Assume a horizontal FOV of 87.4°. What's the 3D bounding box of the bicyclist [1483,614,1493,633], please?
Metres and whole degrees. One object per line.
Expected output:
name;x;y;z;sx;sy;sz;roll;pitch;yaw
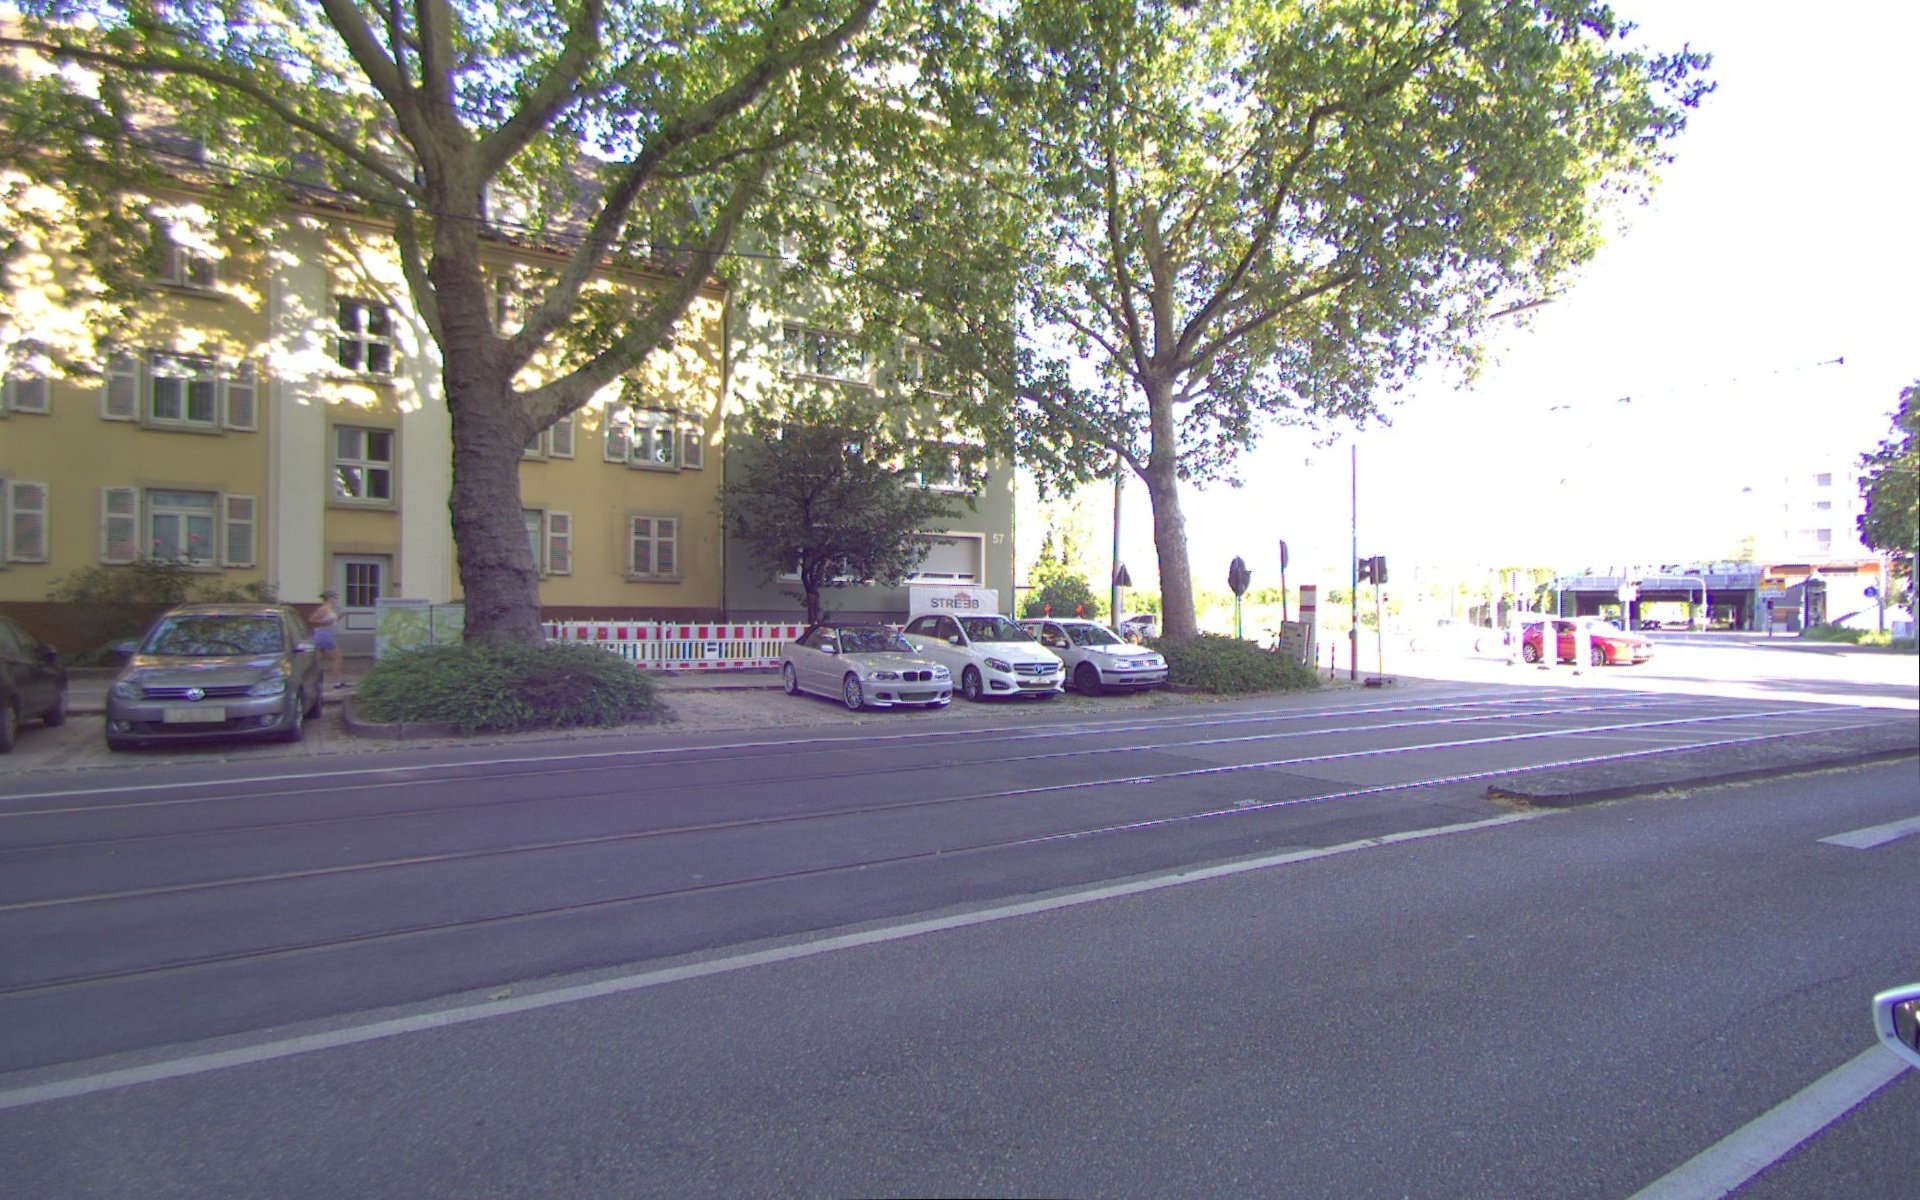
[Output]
bicyclist;36.001;1.592;68.447;0.519;1.239;0.528;0;0;37

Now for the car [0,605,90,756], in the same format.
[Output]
car;-11.449;0.836;11.389;1.652;1.518;3.778;1;0;-30

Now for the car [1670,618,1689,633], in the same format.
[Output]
car;83.520;2.972;116.682;1.731;1.706;3.729;2;0;36

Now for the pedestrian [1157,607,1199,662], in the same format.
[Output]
pedestrian;6.772;1.063;31.196;0.919;1.669;0.841;2;0;-30

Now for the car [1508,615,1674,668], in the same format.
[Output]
car;20.564;1.302;32.977;1.989;1.586;4.478;1;-1;-15

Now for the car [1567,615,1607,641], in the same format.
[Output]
car;40.116;1.786;64.256;1.860;1.606;3.823;2;0;37

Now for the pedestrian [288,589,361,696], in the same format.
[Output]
pedestrian;-10.280;0.674;16.272;0.945;1.683;0.768;2;0;-32

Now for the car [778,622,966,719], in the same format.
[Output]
car;-1.634;1.111;17.314;1.651;1.370;3.949;1;0;-31

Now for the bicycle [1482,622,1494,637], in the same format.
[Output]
bicycle;35.962;2.034;68.396;0.519;0.995;1.571;0;-1;36

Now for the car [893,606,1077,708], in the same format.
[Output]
car;0.365;0.985;19.159;1.651;1.669;3.949;1;0;-31

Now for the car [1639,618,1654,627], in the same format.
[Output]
car;97.976;3.217;143.323;1.555;1.277;3.421;0;-1;30

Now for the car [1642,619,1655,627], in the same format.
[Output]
car;114.267;3.836;166.625;1.555;1.277;3.421;0;-1;30

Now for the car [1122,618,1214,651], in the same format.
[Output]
car;10.310;1.669;49.895;4.133;1.539;1.799;0;0;32

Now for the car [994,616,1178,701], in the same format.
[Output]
car;2.456;1.112;20.534;1.651;1.473;3.949;1;0;-31

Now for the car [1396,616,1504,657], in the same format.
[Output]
car;21.181;1.551;43.607;4.116;1.572;1.996;2;0;24

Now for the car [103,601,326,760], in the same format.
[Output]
car;-8.983;0.835;12.421;1.652;1.602;3.953;1;0;-29
